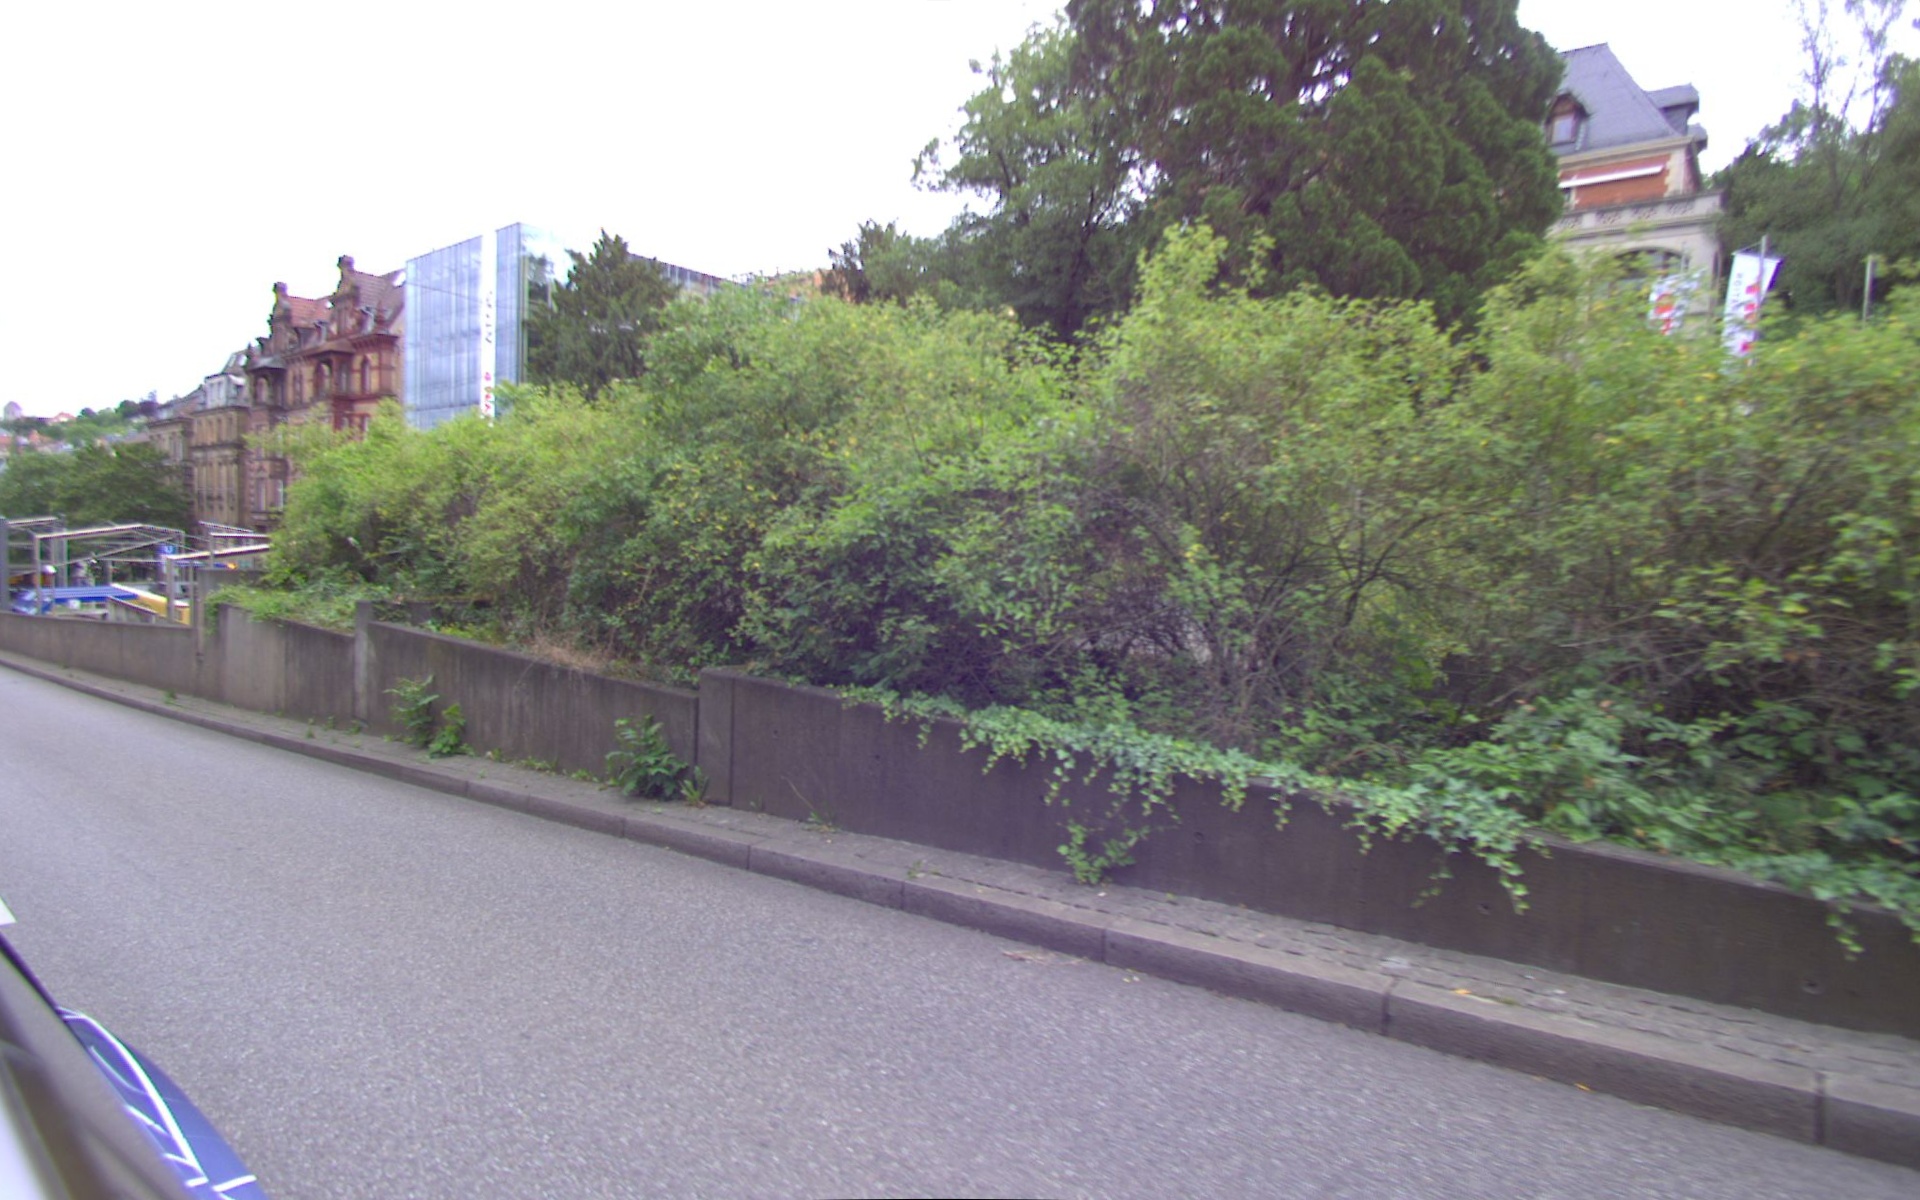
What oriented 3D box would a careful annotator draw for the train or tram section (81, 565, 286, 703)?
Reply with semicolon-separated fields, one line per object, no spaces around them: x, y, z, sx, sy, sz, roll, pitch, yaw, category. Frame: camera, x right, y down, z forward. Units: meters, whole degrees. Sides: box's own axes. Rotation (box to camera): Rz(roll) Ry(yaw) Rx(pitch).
-25.978;0.791;33.493;12.392;3.569;2.919;4;3;41;train or tram section

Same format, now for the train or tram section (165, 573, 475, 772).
-16.587;1.356;25.552;12.209;3.497;2.920;5;3;39;train or tram section

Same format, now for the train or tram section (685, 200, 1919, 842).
2.479;-0.590;9.769;12.974;3.535;2.920;2;2;39;train or tram section
